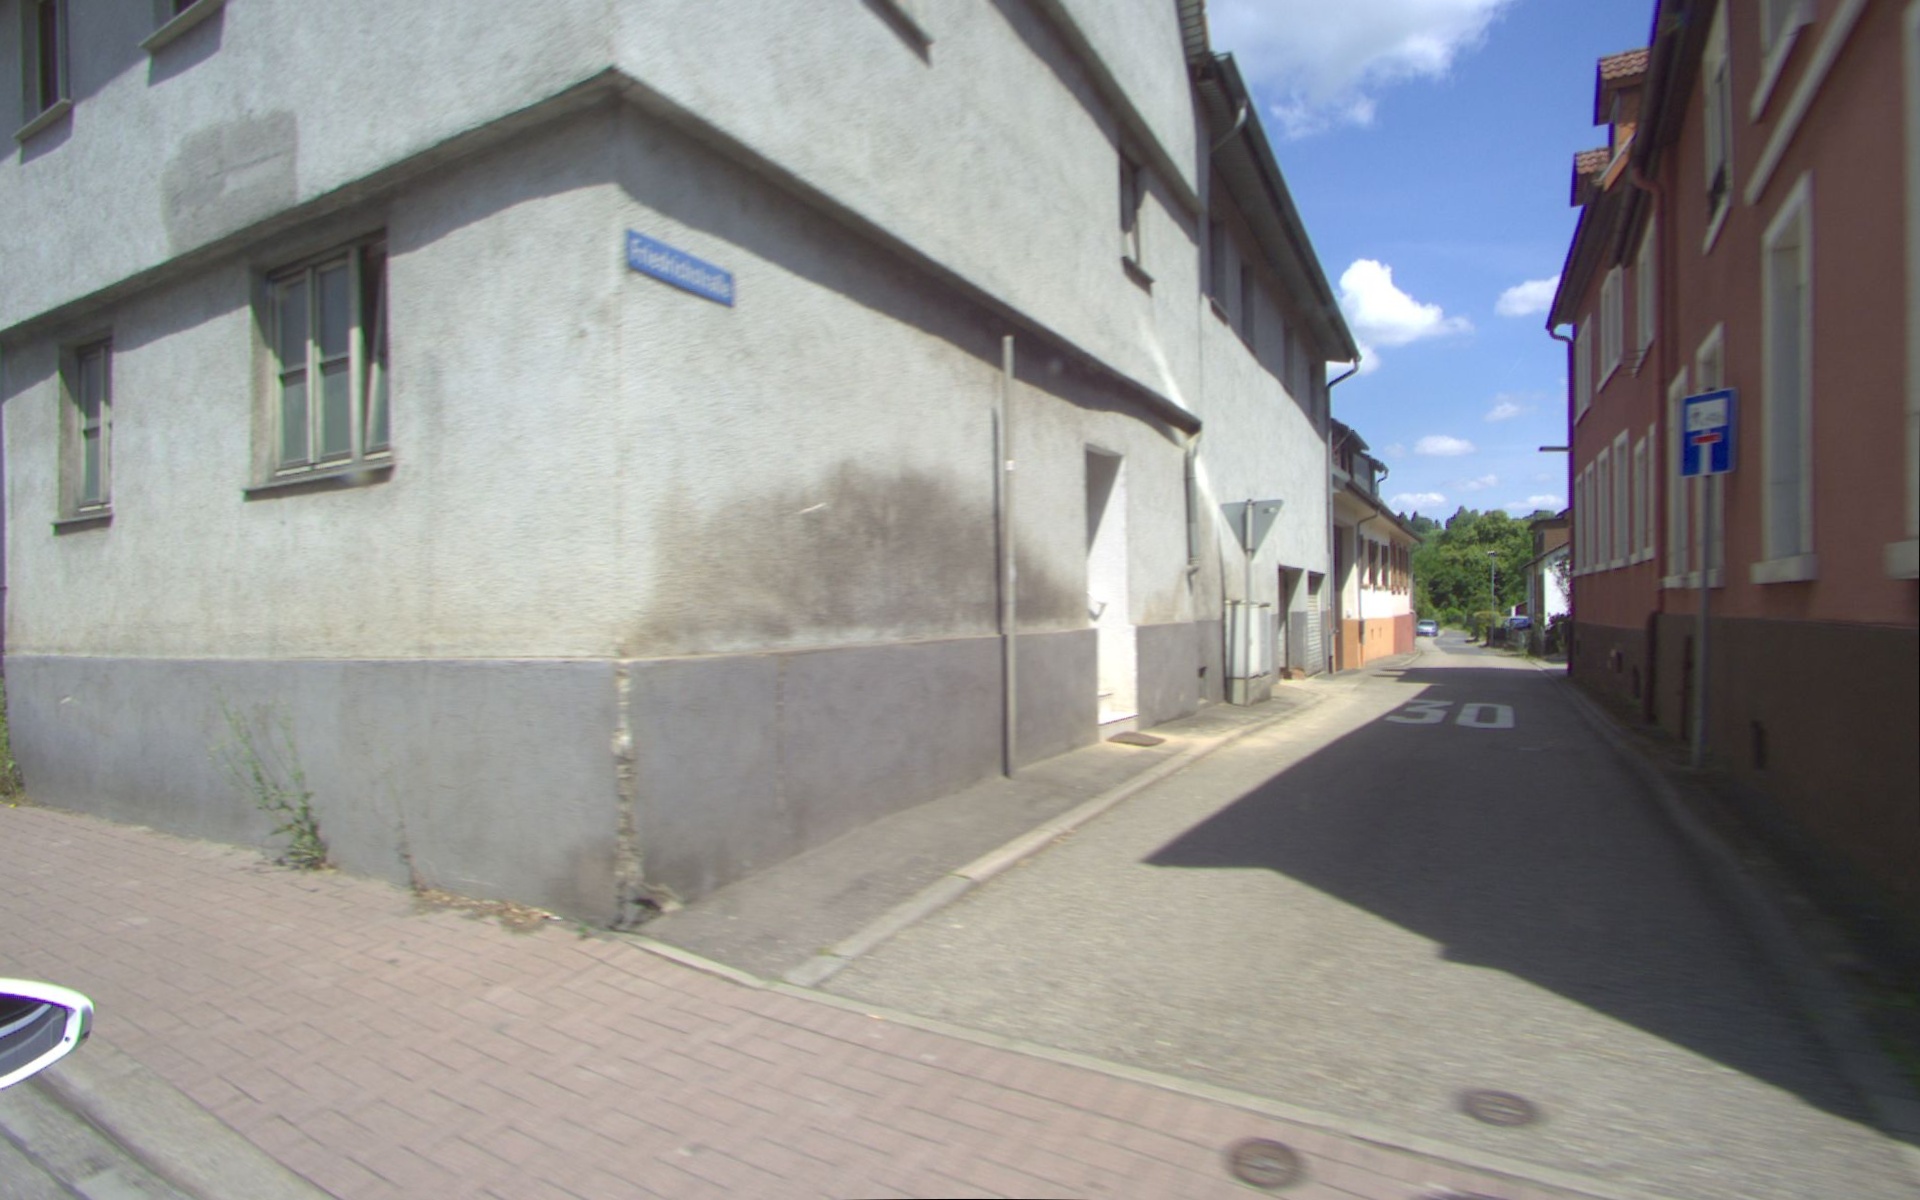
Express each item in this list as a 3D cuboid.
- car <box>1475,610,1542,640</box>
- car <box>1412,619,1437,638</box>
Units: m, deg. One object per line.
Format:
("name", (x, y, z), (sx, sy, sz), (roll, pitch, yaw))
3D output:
("car", (37.335, 1.730, 68.281), (3.938, 1.973, 1.992), (-1, -1, 28))
("car", (41.640, 2.549, 89.878), (1.905, 1.649, 3.989), (-1, -2, 24))
